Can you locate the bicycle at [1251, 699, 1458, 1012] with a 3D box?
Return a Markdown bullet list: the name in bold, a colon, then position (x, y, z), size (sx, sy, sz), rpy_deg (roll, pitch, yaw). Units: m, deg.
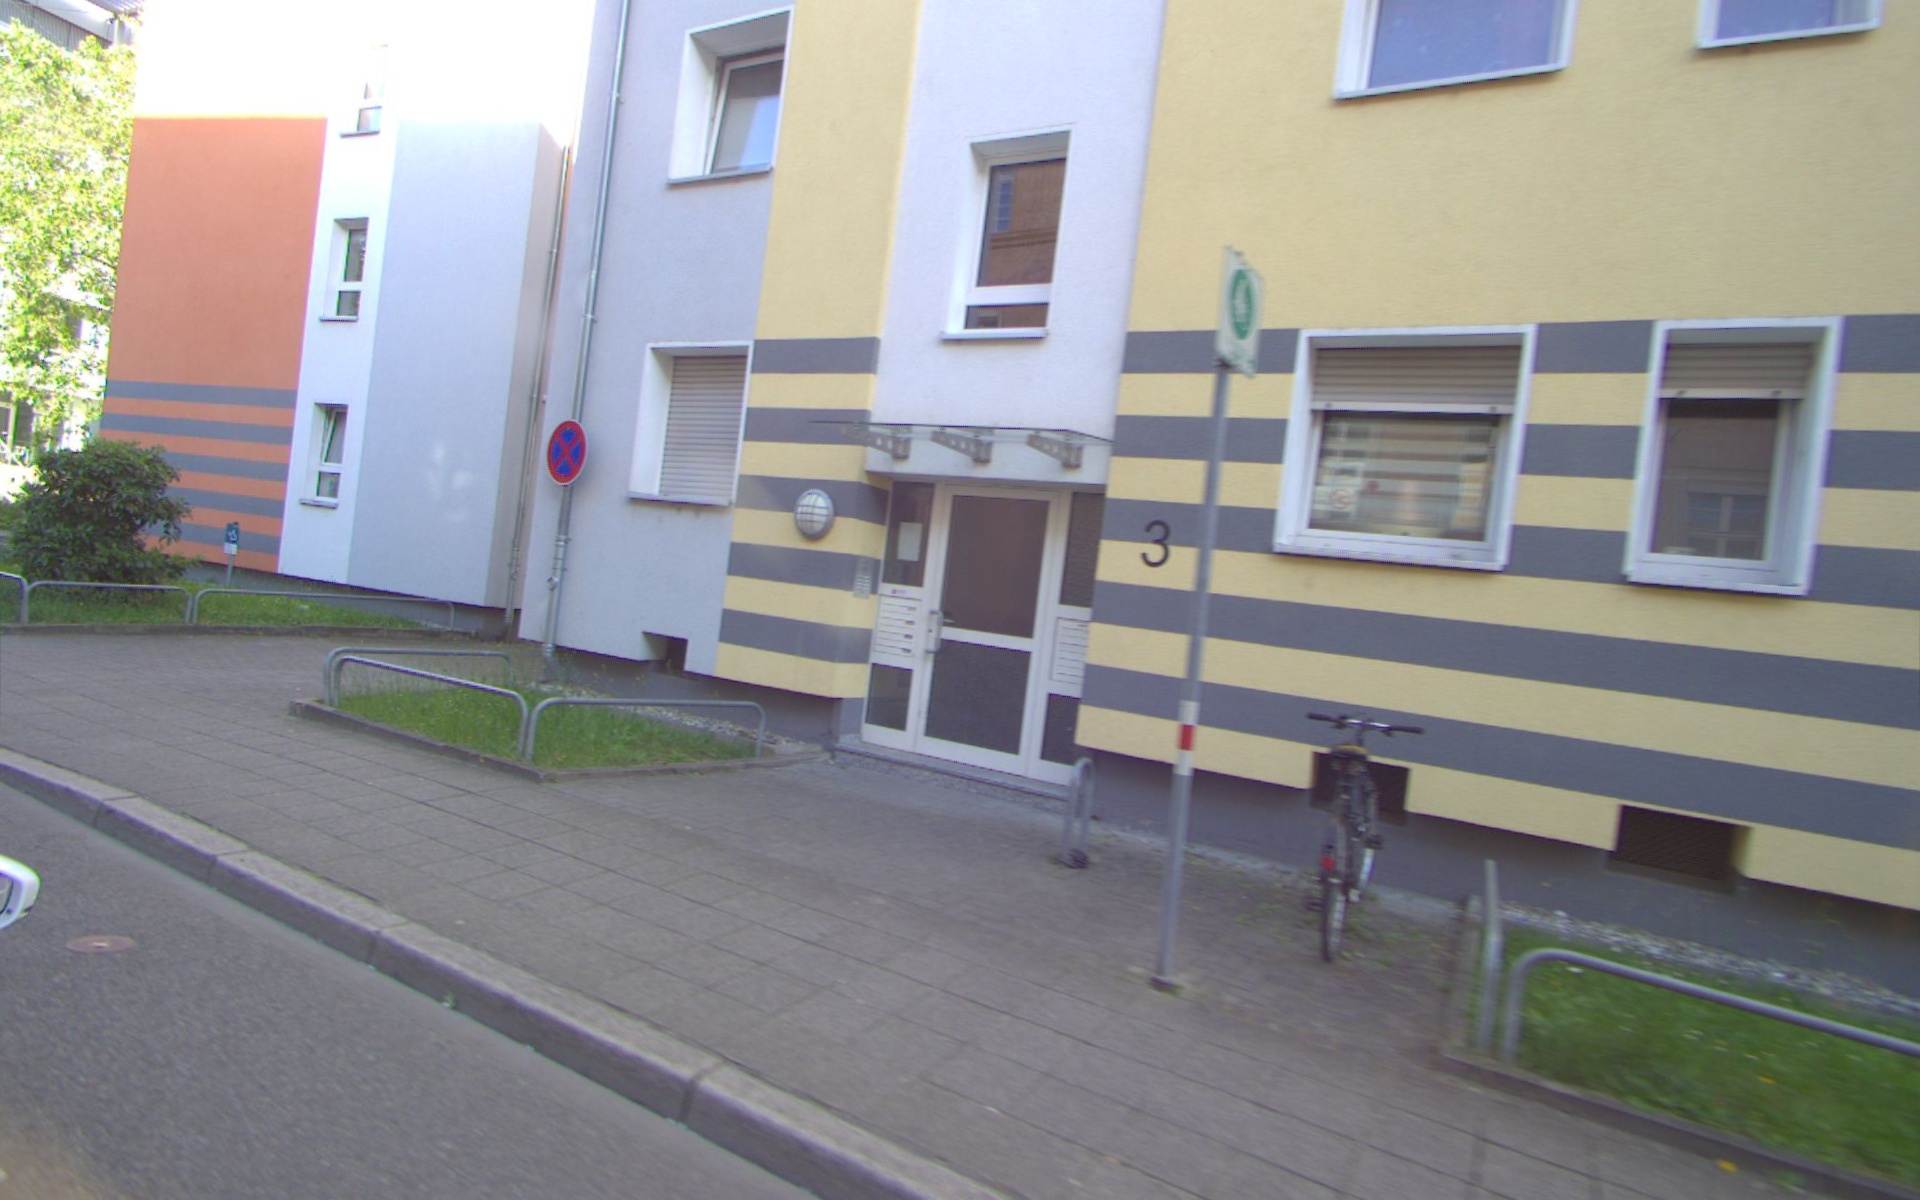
- **bicycle**: position (2.020, 1.108, 4.967), size (0.625, 1.074, 1.946), rpy_deg (8, 1, 28)
